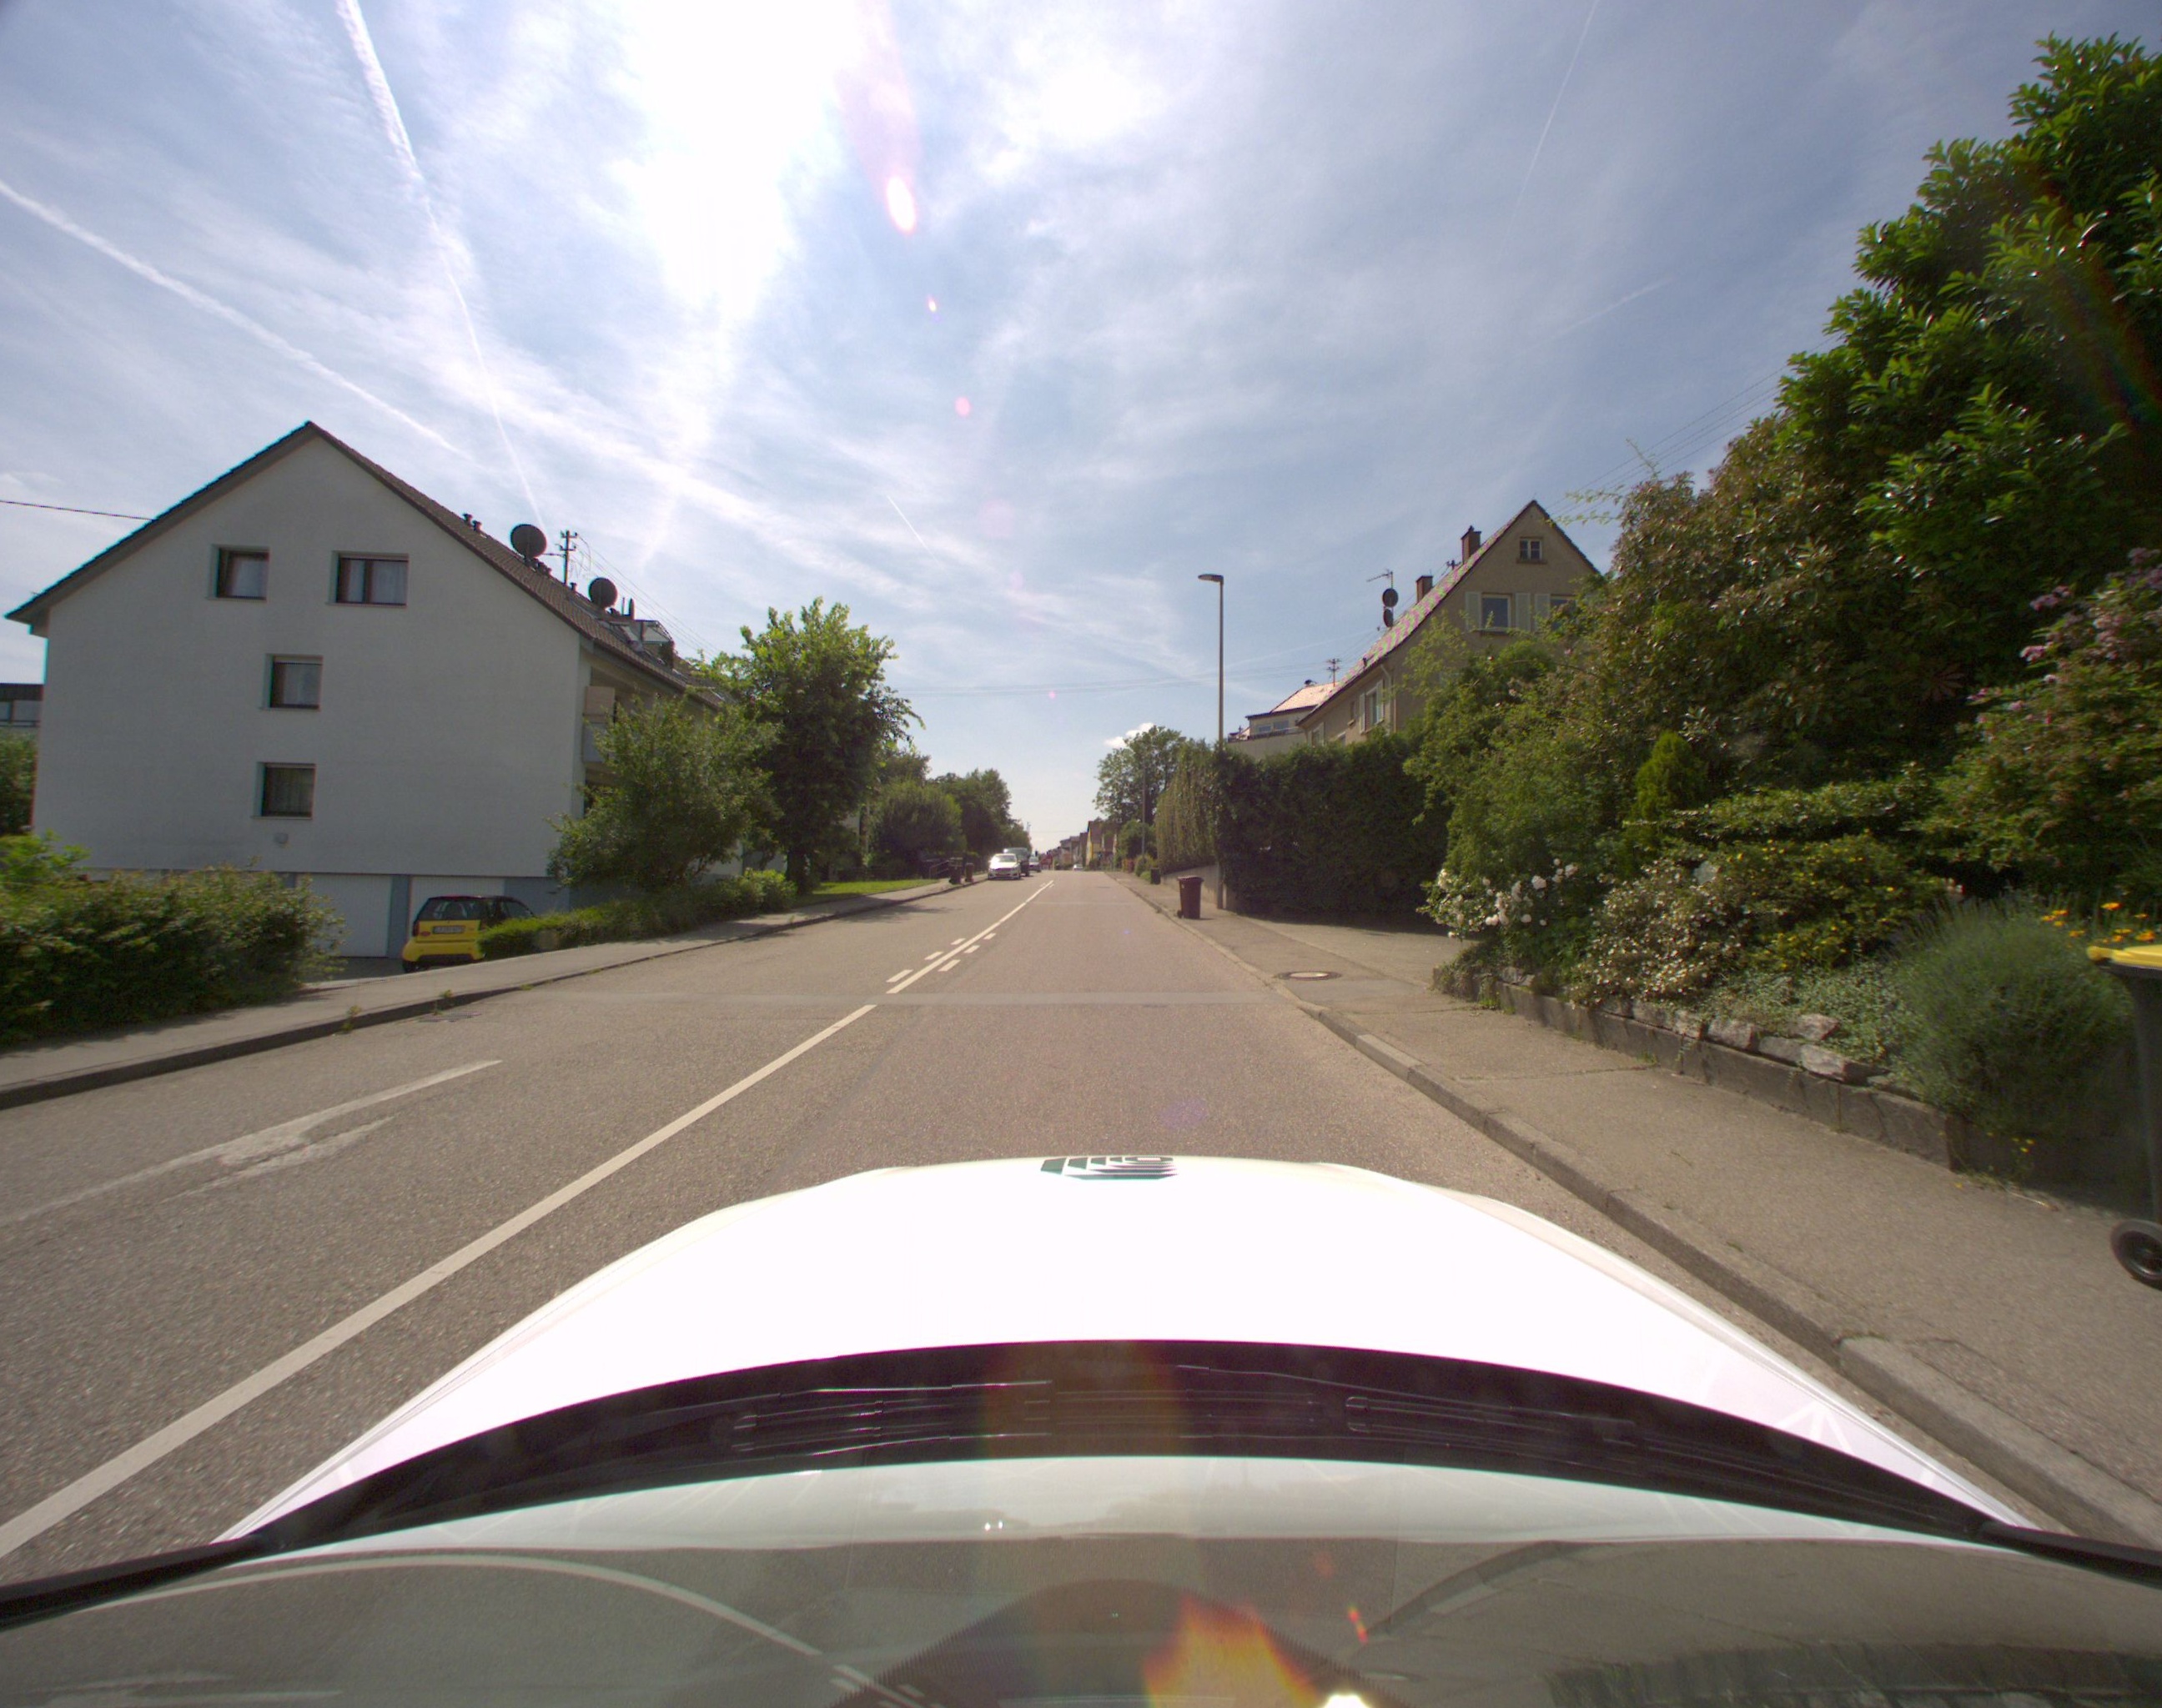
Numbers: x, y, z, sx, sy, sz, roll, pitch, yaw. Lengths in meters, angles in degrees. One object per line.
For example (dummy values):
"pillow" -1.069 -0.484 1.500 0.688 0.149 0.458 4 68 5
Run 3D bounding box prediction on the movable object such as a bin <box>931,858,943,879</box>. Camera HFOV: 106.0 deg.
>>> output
"movable object such as a bin" -8.295 0.834 47.079 0.474 1.178 0.841 0 0 5

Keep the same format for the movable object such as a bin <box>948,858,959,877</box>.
"movable object such as a bin" -7.329 0.780 46.841 0.515 1.104 0.529 0 0 -1

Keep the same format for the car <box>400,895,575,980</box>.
"car" -12.088 1.629 16.835 1.469 1.540 3.225 0 -3 -6

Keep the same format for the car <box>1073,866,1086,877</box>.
"car" -0.298 2.854 133.897 1.988 1.603 3.998 -1 0 -1

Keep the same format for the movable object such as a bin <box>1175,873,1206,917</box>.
"movable object such as a bin" 2.560 0.944 19.104 0.586 0.978 0.786 -2 0 0

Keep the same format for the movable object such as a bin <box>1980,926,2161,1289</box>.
"movable object such as a bin" 3.583 0.792 2.521 0.586 1.059 0.920 -1 0 2

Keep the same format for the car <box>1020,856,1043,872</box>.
"car" -4.386 0.875 73.209 1.774 1.394 4.408 -1 -1 0

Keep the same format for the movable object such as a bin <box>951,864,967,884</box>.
"movable object such as a bin" -5.790 0.952 38.667 0.616 0.917 0.687 0 0 6

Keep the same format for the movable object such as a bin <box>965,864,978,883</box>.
"movable object such as a bin" -5.569 0.987 41.354 0.503 0.988 0.564 0 0 6

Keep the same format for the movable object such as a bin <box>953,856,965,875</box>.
"movable object such as a bin" -7.213 0.659 48.223 0.494 1.105 0.711 -2 -1 6

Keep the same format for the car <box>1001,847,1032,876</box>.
"car" -4.437 0.504 56.459 1.892 1.920 4.866 -1 0 -2

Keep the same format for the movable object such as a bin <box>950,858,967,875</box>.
"movable object such as a bin" -7.453 0.759 49.644 0.897 1.070 0.695 0 0 -1

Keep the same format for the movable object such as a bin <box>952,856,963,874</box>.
"movable object such as a bin" -7.217 0.645 47.544 0.453 1.044 0.561 -2 -1 6

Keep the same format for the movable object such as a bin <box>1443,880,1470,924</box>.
"movable object such as a bin" 8.720 1.112 18.913 0.385 0.973 0.473 1 -1 0

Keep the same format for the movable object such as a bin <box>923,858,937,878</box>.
"movable object such as a bin" -8.430 0.793 45.474 0.599 1.096 0.651 -1 0 6

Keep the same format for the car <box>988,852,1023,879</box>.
"car" -4.512 0.635 49.046 1.806 1.549 4.239 0 0 -2

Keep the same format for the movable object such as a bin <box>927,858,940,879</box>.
"movable object such as a bin" -8.373 0.822 46.283 0.544 1.178 0.675 0 0 5
